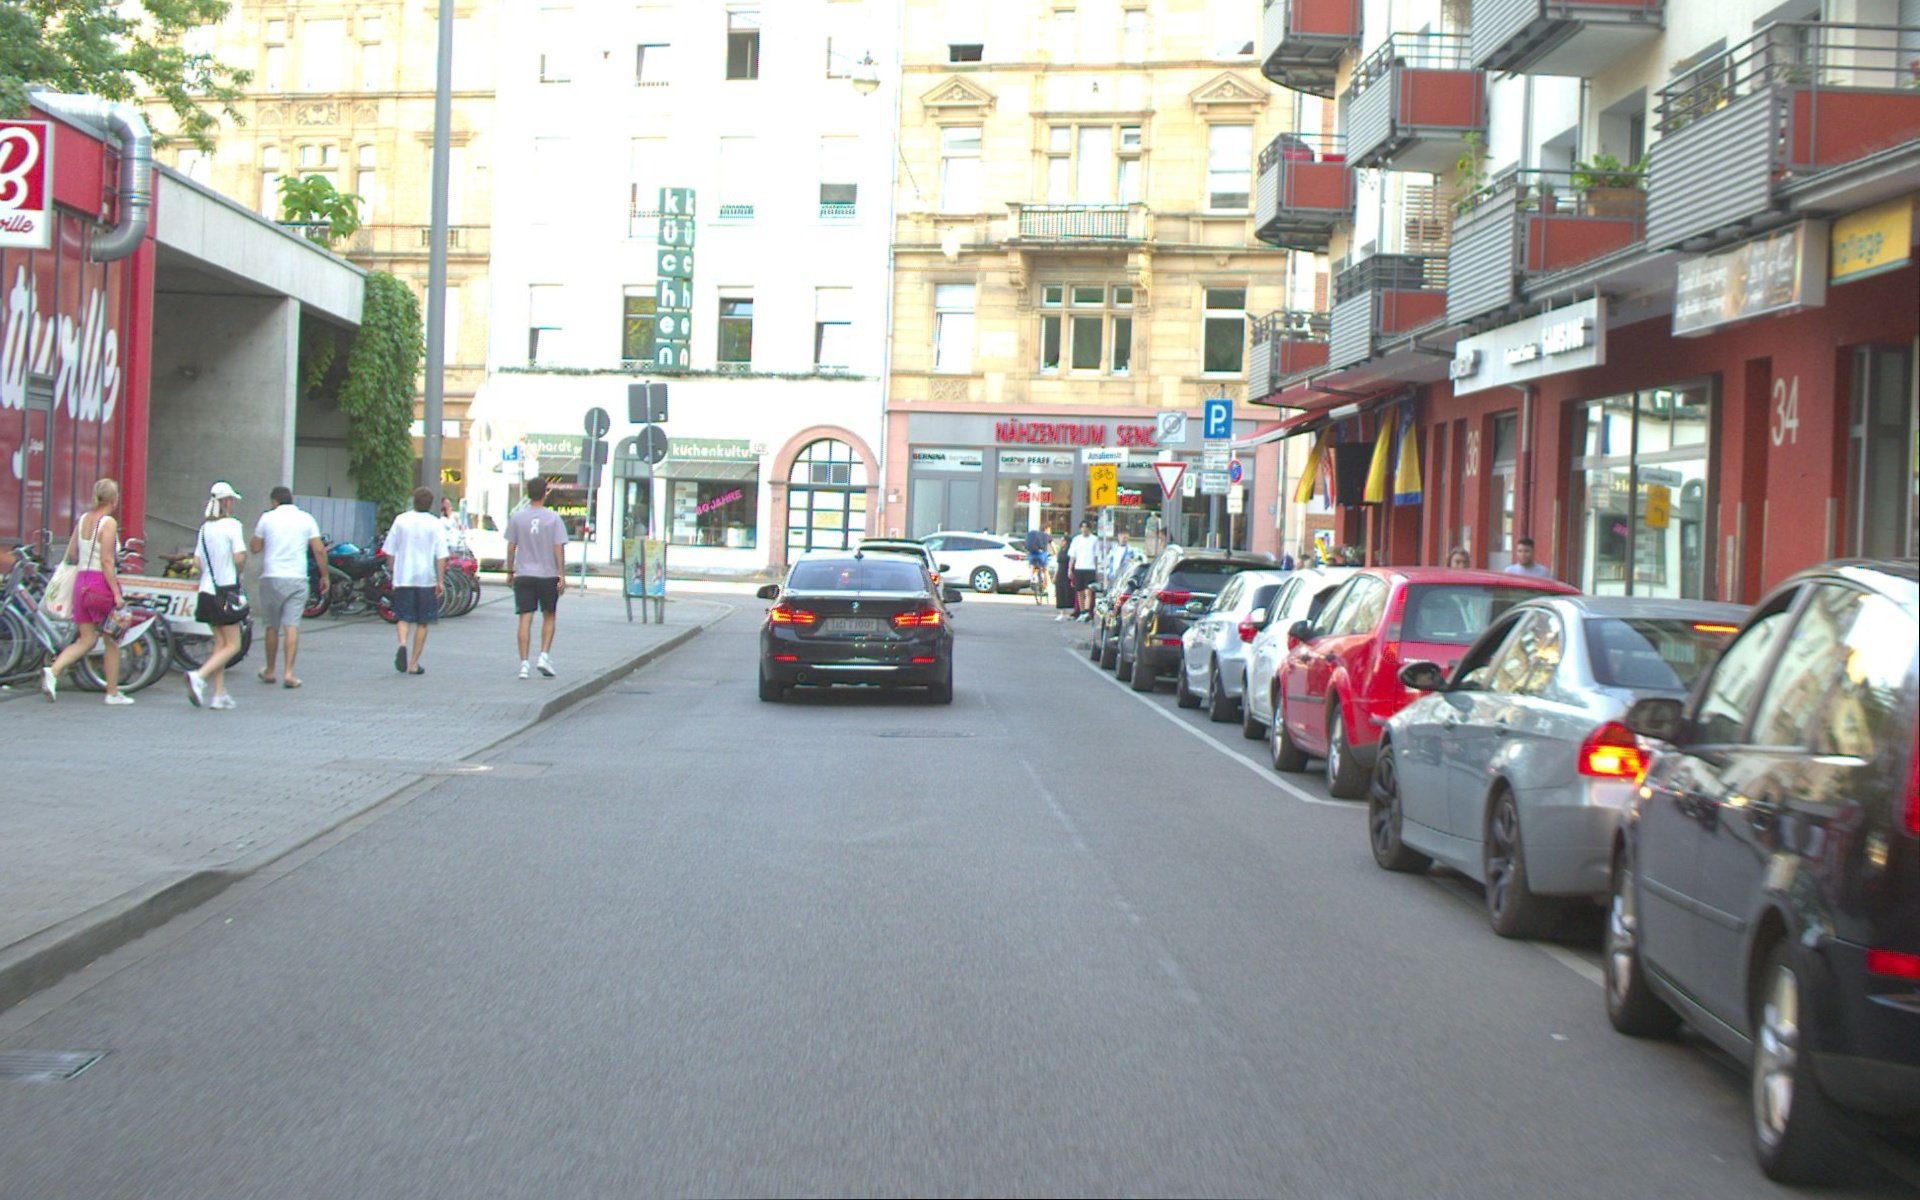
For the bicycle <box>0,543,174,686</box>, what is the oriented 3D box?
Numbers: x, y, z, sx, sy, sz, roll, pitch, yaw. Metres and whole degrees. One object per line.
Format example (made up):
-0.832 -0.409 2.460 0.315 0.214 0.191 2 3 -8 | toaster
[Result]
-7.434 0.106 28.255 1.794 1.104 0.500 2 1 -2 | bicycle

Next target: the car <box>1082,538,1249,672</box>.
2.648 0.021 45.305 1.765 1.497 4.791 4 2 -1 | car

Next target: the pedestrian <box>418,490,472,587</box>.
-9.314 -1.111 62.194 0.673 1.740 0.655 3 2 39 | pedestrian

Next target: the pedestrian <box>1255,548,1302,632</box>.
4.926 -0.160 53.131 0.687 1.282 0.608 1 1 8 | pedestrian

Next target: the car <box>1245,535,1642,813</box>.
3.128 0.407 23.168 1.712 1.507 4.653 4 2 -3 | car

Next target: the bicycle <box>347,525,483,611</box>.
-7.712 -0.458 48.688 1.794 1.104 0.500 3 1 -4 | bicycle

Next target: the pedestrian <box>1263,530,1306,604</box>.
5.308 -0.543 56.220 0.417 1.197 0.537 -2 2 -44 | pedestrian

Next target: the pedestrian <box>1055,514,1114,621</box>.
2.221 -0.579 61.504 0.676 1.871 0.701 2 1 -38 | pedestrian

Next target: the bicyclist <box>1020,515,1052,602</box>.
1.557 -0.854 70.517 0.524 1.750 0.620 3 1 7 | bicyclist

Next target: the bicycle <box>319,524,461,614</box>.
-7.728 -0.421 46.640 1.794 1.104 0.500 3 1 -2 | bicycle

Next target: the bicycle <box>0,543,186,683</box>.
-7.448 0.100 28.791 1.794 1.104 0.500 2 1 -2 | bicycle

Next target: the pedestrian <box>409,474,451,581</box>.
-9.468 -1.294 61.432 0.583 1.875 0.633 2 1 5 | pedestrian

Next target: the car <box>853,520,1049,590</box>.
-0.215 -1.089 83.484 4.356 1.557 1.866 2 1 22 | car

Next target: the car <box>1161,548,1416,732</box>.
3.062 0.325 32.881 1.698 1.447 4.459 4 2 -3 | car

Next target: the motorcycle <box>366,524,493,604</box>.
-7.898 -0.537 51.239 1.745 1.097 0.567 3 1 -35 | motorcycle

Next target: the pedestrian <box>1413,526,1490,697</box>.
4.846 0.104 33.906 0.648 1.655 0.655 -1 1 1 | pedestrian

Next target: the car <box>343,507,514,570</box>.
-13.793 -1.588 89.225 3.991 1.505 1.798 2 1 22 | car

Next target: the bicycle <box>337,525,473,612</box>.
-7.737 -0.440 47.984 1.794 1.104 0.500 3 1 -6 | bicycle

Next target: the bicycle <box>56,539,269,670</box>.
-7.308 0.037 31.535 1.794 1.104 0.500 3 1 2 | bicycle

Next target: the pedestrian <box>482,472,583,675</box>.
-4.109 -0.264 33.078 0.744 1.887 1.050 3 1 0 | pedestrian

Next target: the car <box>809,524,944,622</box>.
-1.318 -0.467 55.933 1.877 1.468 4.000 2 2 3 | car

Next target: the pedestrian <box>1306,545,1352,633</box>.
5.738 -0.172 53.492 0.606 1.343 0.696 0 1 -2 | pedestrian

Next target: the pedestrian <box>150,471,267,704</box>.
-5.812 -0.111 26.622 0.649 1.744 0.986 2 1 -2 | pedestrian

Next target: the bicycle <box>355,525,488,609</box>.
-7.780 -0.482 49.700 1.794 1.104 0.500 3 1 -1 | bicycle

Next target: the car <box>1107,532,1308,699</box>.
2.769 0.117 39.414 1.765 1.636 4.791 4 2 -1 | car

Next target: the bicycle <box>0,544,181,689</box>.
-7.299 0.123 27.911 1.794 1.104 0.500 2 1 -1 | bicycle

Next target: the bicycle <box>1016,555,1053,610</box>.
1.534 -0.369 70.550 0.536 1.104 1.800 3 1 7 | bicycle

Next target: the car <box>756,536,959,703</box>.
-0.946 0.134 33.251 1.765 1.370 4.791 3 2 -1 | car

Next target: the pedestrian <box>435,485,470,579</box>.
-8.989 -1.201 60.847 0.500 1.637 0.521 1 1 1 | pedestrian

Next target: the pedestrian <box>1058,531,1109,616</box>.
2.274 -0.494 63.262 0.735 1.508 0.650 3 1 -10 | pedestrian

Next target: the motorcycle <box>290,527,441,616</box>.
-7.818 -0.374 45.207 1.803 1.060 0.763 4 1 25 | motorcycle

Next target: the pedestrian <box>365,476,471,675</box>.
-5.117 -0.237 32.503 0.741 1.806 1.009 4 1 -2 | pedestrian

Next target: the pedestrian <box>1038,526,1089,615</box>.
1.921 -0.553 63.931 0.724 1.603 0.650 3 1 -10 | pedestrian

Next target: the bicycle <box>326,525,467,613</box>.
-7.743 -0.427 47.235 1.794 1.104 0.500 3 1 1 | bicycle

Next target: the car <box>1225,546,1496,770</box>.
3.149 0.403 27.704 1.606 1.507 4.048 4 2 0 | car

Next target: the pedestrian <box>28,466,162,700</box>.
-6.702 -0.139 26.661 0.753 1.743 0.847 3 1 -2 | pedestrian

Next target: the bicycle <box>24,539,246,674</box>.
-7.296 0.052 30.433 1.794 1.104 0.500 3 1 2 | bicycle

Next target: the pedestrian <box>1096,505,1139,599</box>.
2.969 -0.909 64.722 0.605 1.740 0.669 2 1 19 | pedestrian

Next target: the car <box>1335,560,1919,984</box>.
2.944 0.631 15.304 1.736 1.410 4.683 4 2 -3 | car

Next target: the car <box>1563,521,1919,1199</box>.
2.966 0.638 9.926 1.794 1.604 4.486 4 2 3 | car

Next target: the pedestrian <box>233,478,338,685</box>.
-5.836 -0.168 29.780 0.717 1.748 0.848 2 1 -2 | pedestrian

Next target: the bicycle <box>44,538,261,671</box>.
-7.292 0.036 31.065 1.794 1.104 0.500 3 1 2 | bicycle

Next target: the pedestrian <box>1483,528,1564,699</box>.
5.551 0.122 33.898 0.648 1.655 0.794 -1 1 1 | pedestrian
